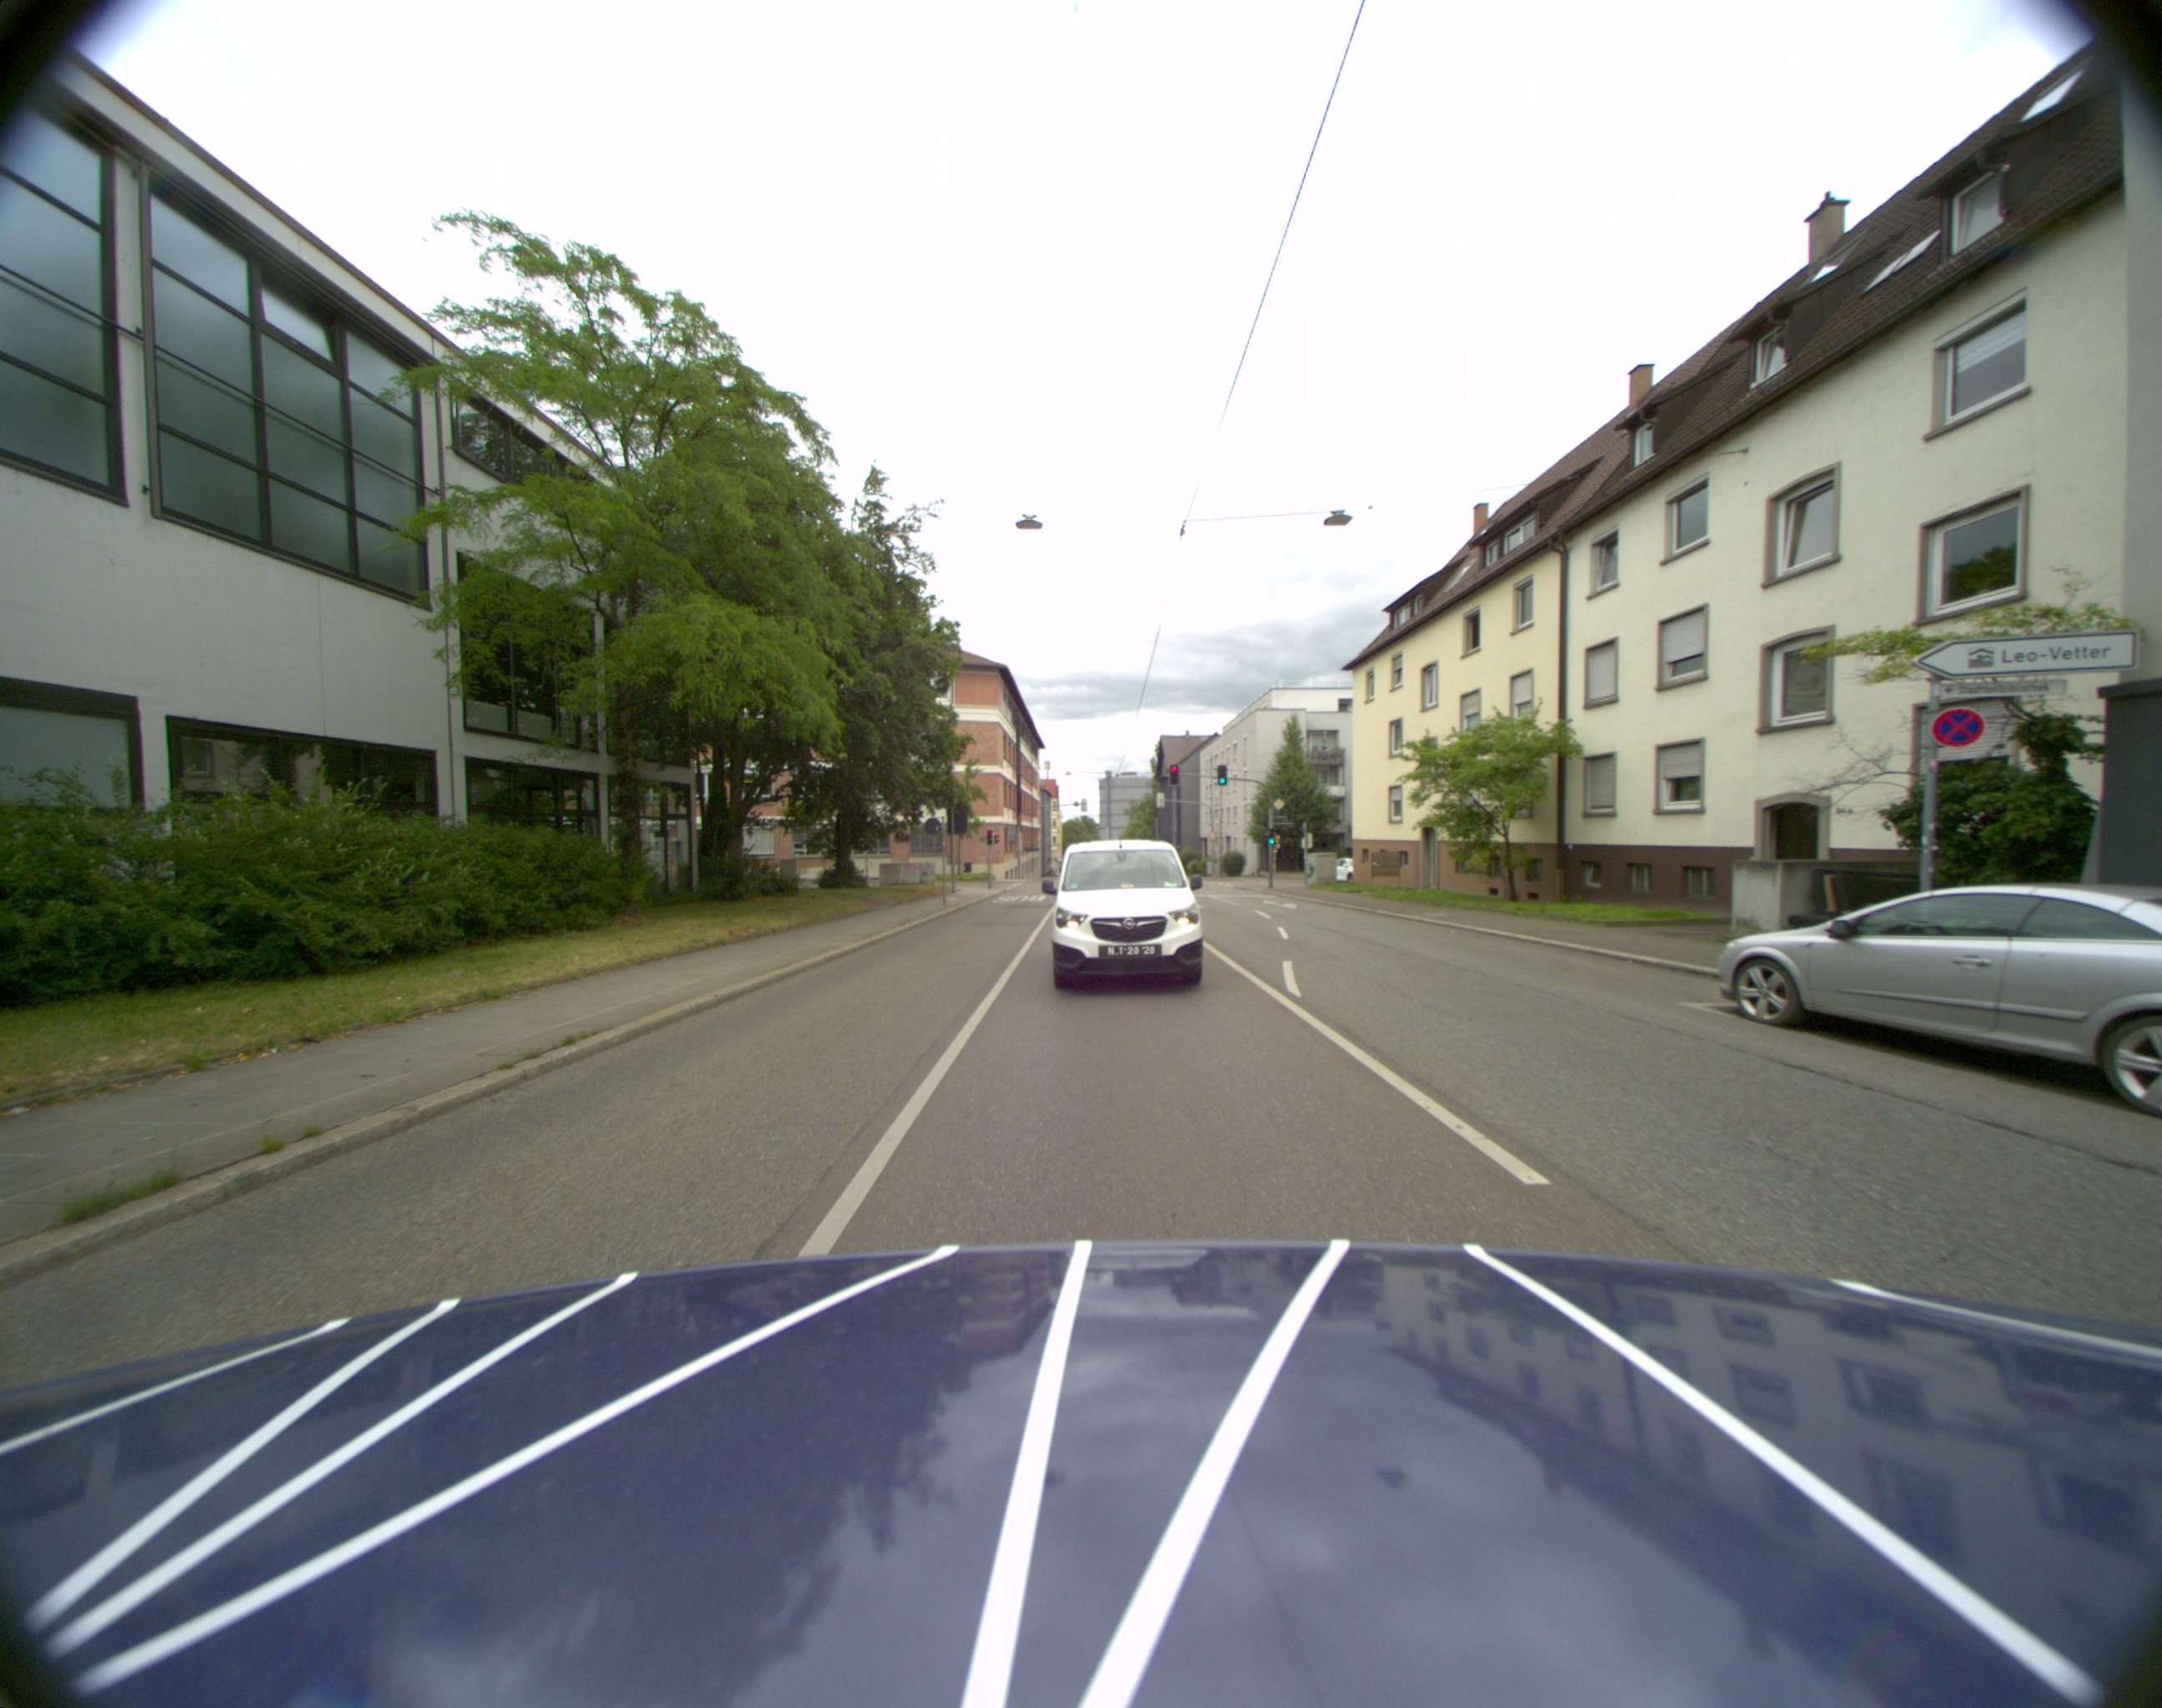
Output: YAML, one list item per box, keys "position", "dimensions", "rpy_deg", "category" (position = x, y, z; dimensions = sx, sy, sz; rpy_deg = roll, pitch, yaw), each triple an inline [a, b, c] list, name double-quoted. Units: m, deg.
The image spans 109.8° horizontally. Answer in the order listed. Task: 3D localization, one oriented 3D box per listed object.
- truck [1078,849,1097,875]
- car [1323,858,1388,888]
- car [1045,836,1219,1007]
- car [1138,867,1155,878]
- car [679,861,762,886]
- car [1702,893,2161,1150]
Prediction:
- position: [0.924, 1.150, 107.692]
  dimensions: [2.545, 3.478, 8.522]
  rpy_deg: [0, -1, 1]
  category: "truck"
- position: [15.108, 1.051, 42.124]
  dimensions: [1.819, 1.527, 4.260]
  rpy_deg: [1, -2, -4]
  category: "car"
- position: [0.592, 0.795, 10.421]
  dimensions: [1.850, 1.831, 4.285]
  rpy_deg: [-1, -2, 1]
  category: "car"
- position: [8.293, 2.314, 96.592]
  dimensions: [1.799, 1.400, 4.001]
  rpy_deg: [0, -1, 1]
  category: "car"
- position: [-21.659, 1.195, 45.867]
  dimensions: [4.425, 1.396, 1.771]
  rpy_deg: [0, -3, -21]
  category: "car"
- position: [7.212, 1.066, 5.574]
  dimensions: [1.731, 1.366, 4.337]
  rpy_deg: [0, 0, -1]
  category: "car"
